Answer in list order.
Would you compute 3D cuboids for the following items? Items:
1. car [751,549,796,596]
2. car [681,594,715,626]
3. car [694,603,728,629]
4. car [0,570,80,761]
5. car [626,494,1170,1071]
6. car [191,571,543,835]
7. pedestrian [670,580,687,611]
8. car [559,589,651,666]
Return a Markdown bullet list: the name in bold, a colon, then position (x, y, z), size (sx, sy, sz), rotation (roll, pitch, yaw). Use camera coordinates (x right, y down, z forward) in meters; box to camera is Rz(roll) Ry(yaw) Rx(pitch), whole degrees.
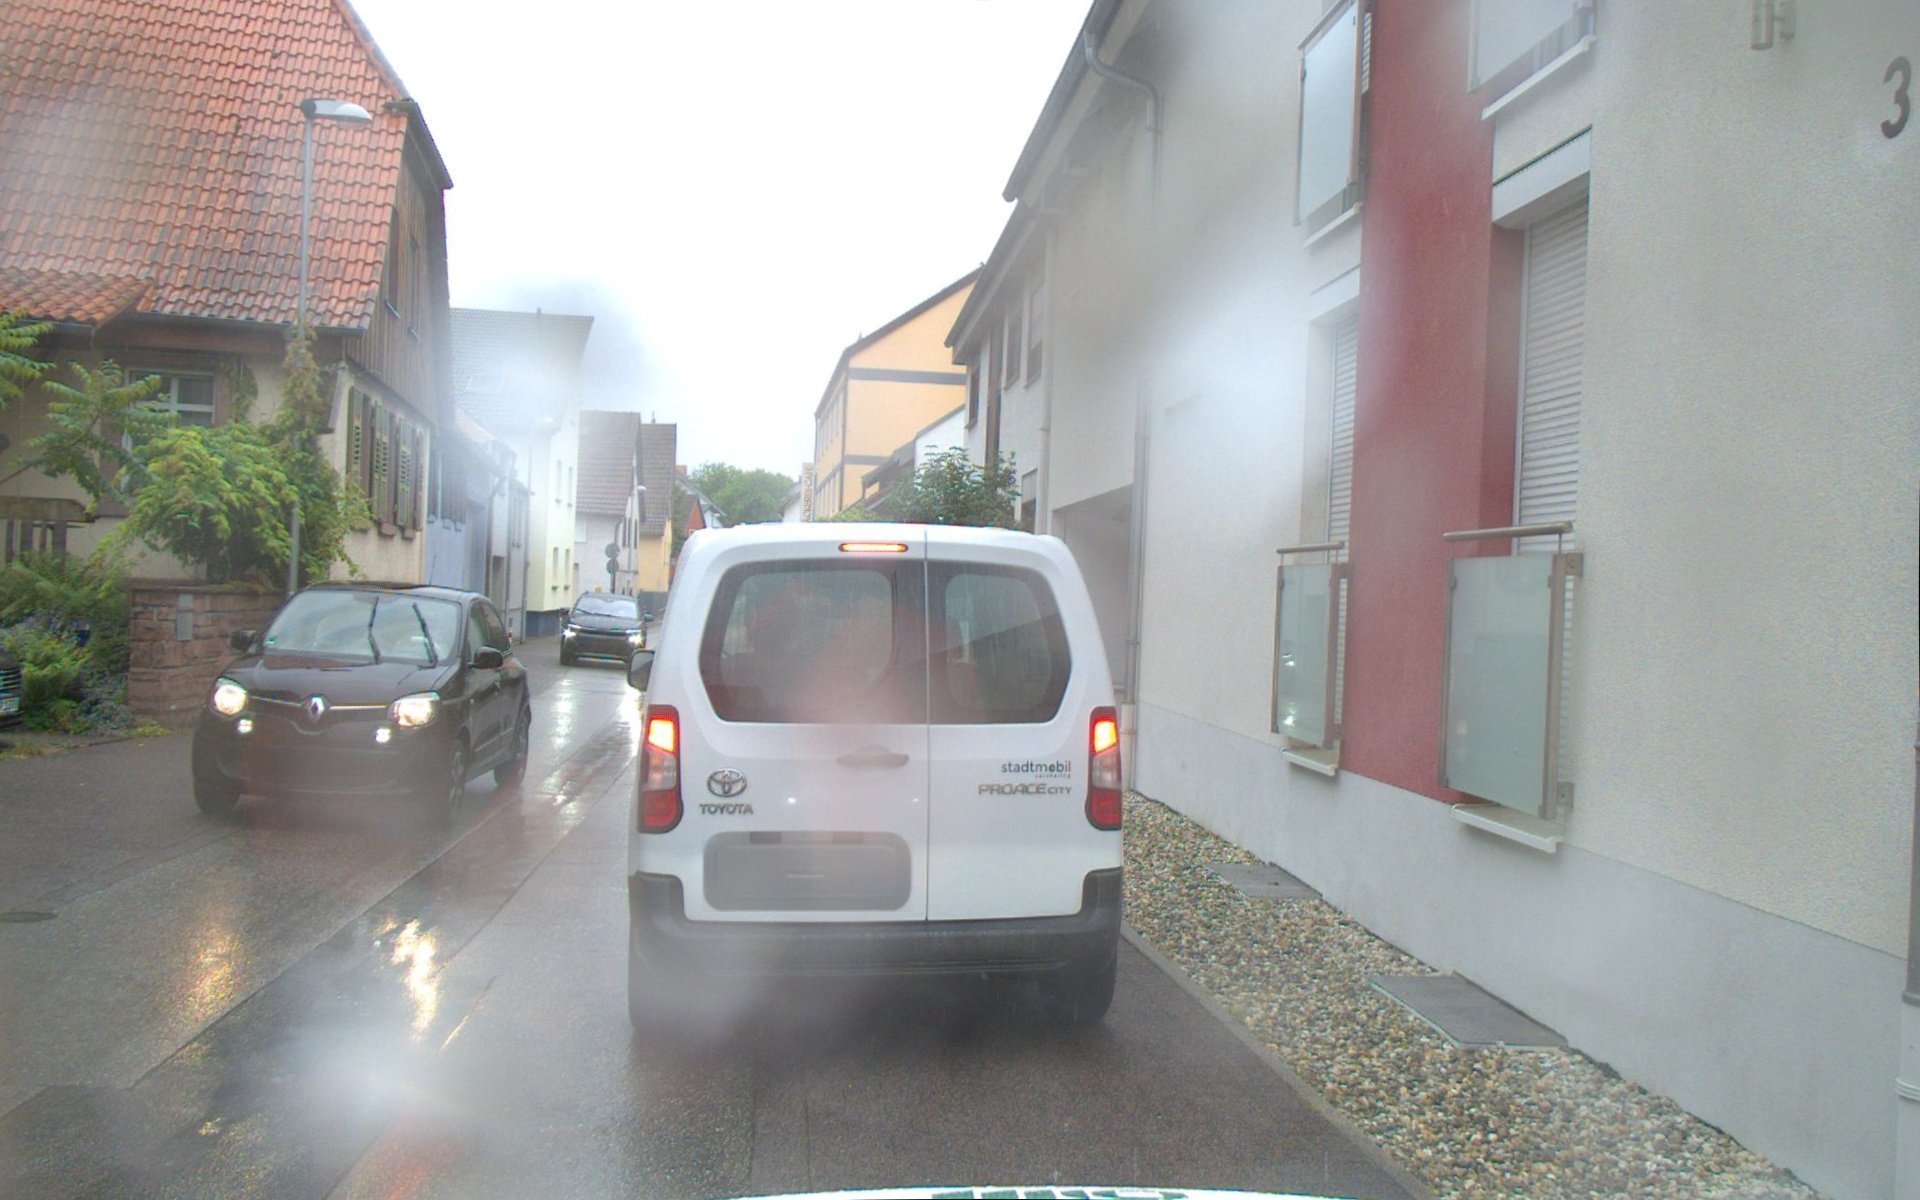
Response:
- **car**: position (-8.568, -1.247, 76.181), size (1.955, 2.049, 3.995), rotation (1, 0, -6)
- **car**: position (-12.704, 0.485, 80.167), size (1.532, 1.503, 3.990), rotation (1, 0, -10)
- **car**: position (-13.731, 0.864, 91.131), size (1.747, 1.419, 3.990), rotation (1, 0, -10)
- **car**: position (-9.391, 0.306, 12.948), size (3.908, 1.450, 1.735), rotation (7, -1, -1)
- **car**: position (-0.484, 0.590, 7.319), size (1.742, 1.811, 3.991), rotation (1, 0, -9)
- **car**: position (-4.035, 0.628, 11.831), size (1.574, 1.539, 3.681), rotation (2, 0, -8)
- **pedestrian**: position (-17.783, -0.305, 104.427), size (1.031, 1.926, 0.875), rotation (1, -1, -9)
- **car**: position (-8.003, 0.593, 37.590), size (1.799, 1.583, 4.229), rotation (2, 0, -10)
